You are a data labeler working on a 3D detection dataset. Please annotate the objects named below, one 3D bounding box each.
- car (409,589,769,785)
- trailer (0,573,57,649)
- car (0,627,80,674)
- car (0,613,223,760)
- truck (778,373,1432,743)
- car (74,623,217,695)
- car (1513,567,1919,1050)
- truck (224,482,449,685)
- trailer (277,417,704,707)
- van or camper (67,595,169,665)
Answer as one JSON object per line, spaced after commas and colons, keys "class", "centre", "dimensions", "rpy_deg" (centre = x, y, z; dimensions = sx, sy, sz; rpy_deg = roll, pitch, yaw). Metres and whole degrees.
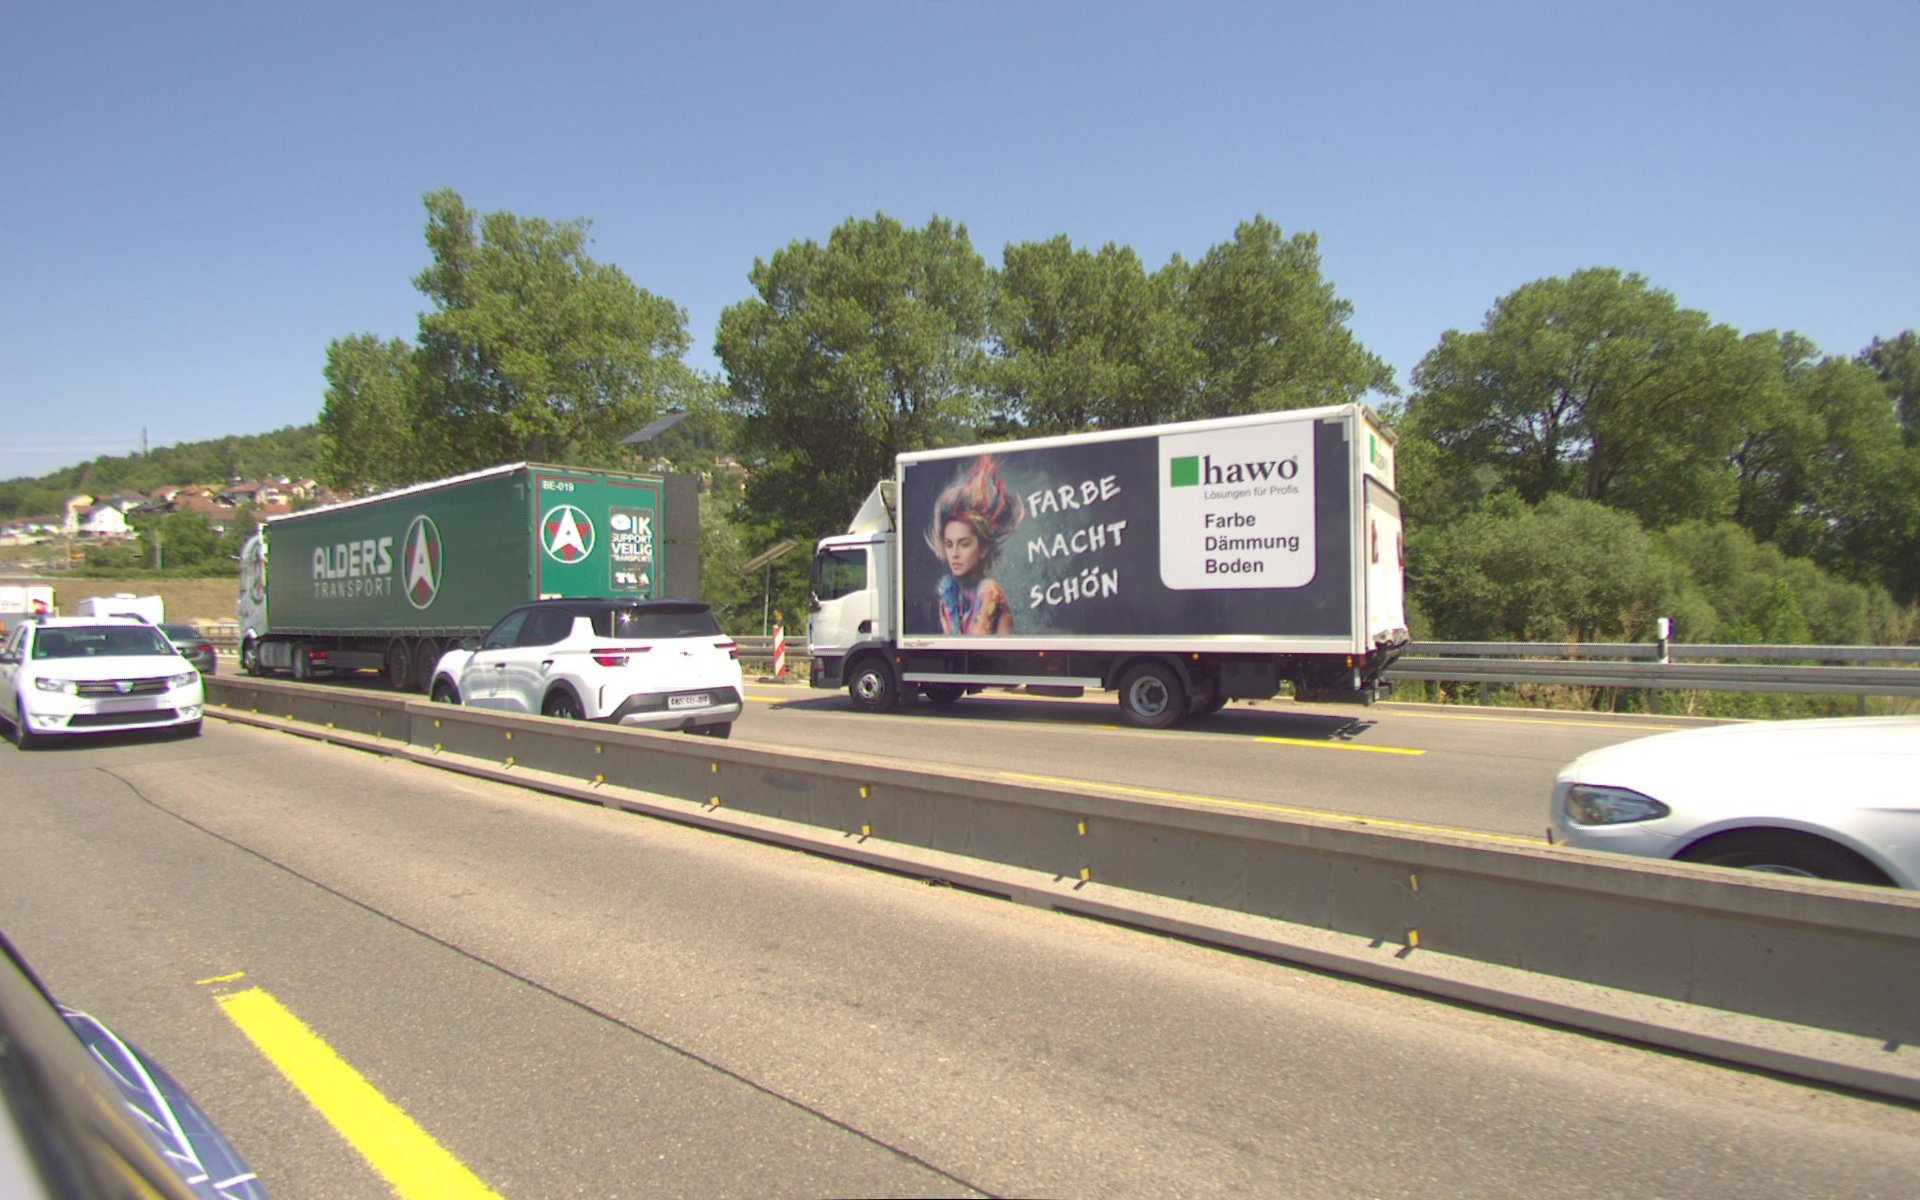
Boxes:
{"class": "car", "centre": [-4.080, 0.799, 10.799], "dimensions": [4.152, 1.659, 1.739], "rpy_deg": [-2, 1, 40]}
{"class": "trailer", "centre": [-57.022, 0.770, 60.505], "dimensions": [11.787, 4.208, 2.778], "rpy_deg": [-2, -1, 40]}
{"class": "car", "centre": [-31.849, 1.695, 34.747], "dimensions": [4.534, 1.431, 1.759], "rpy_deg": [-2, 1, 40]}
{"class": "car", "centre": [-11.278, 0.990, 13.081], "dimensions": [4.703, 1.542, 1.800], "rpy_deg": [-2, -1, 40]}
{"class": "truck", "centre": [1.648, -0.327, 13.833], "dimensions": [8.341, 3.793, 2.882], "rpy_deg": [-2, 0, 33]}
{"class": "car", "centre": [-19.429, 1.346, 24.070], "dimensions": [4.605, 1.470, 1.846], "rpy_deg": [-2, 1, 41]}
{"class": "car", "centre": [4.663, 0.594, 3.013], "dimensions": [4.971, 1.509, 1.973], "rpy_deg": [-2, 0, 41]}
{"class": "truck", "centre": [-16.337, -0.289, 26.289], "dimensions": [7.099, 4.571, 3.045], "rpy_deg": [-2, -1, 42]}
{"class": "trailer", "centre": [-10.458, -0.421, 21.137], "dimensions": [13.012, 4.499, 3.069], "rpy_deg": [-2, -2, 41]}
{"class": "van or camper", "centre": [-34.813, 1.220, 41.787], "dimensions": [5.241, 2.719, 2.477], "rpy_deg": [-2, -1, 41]}
